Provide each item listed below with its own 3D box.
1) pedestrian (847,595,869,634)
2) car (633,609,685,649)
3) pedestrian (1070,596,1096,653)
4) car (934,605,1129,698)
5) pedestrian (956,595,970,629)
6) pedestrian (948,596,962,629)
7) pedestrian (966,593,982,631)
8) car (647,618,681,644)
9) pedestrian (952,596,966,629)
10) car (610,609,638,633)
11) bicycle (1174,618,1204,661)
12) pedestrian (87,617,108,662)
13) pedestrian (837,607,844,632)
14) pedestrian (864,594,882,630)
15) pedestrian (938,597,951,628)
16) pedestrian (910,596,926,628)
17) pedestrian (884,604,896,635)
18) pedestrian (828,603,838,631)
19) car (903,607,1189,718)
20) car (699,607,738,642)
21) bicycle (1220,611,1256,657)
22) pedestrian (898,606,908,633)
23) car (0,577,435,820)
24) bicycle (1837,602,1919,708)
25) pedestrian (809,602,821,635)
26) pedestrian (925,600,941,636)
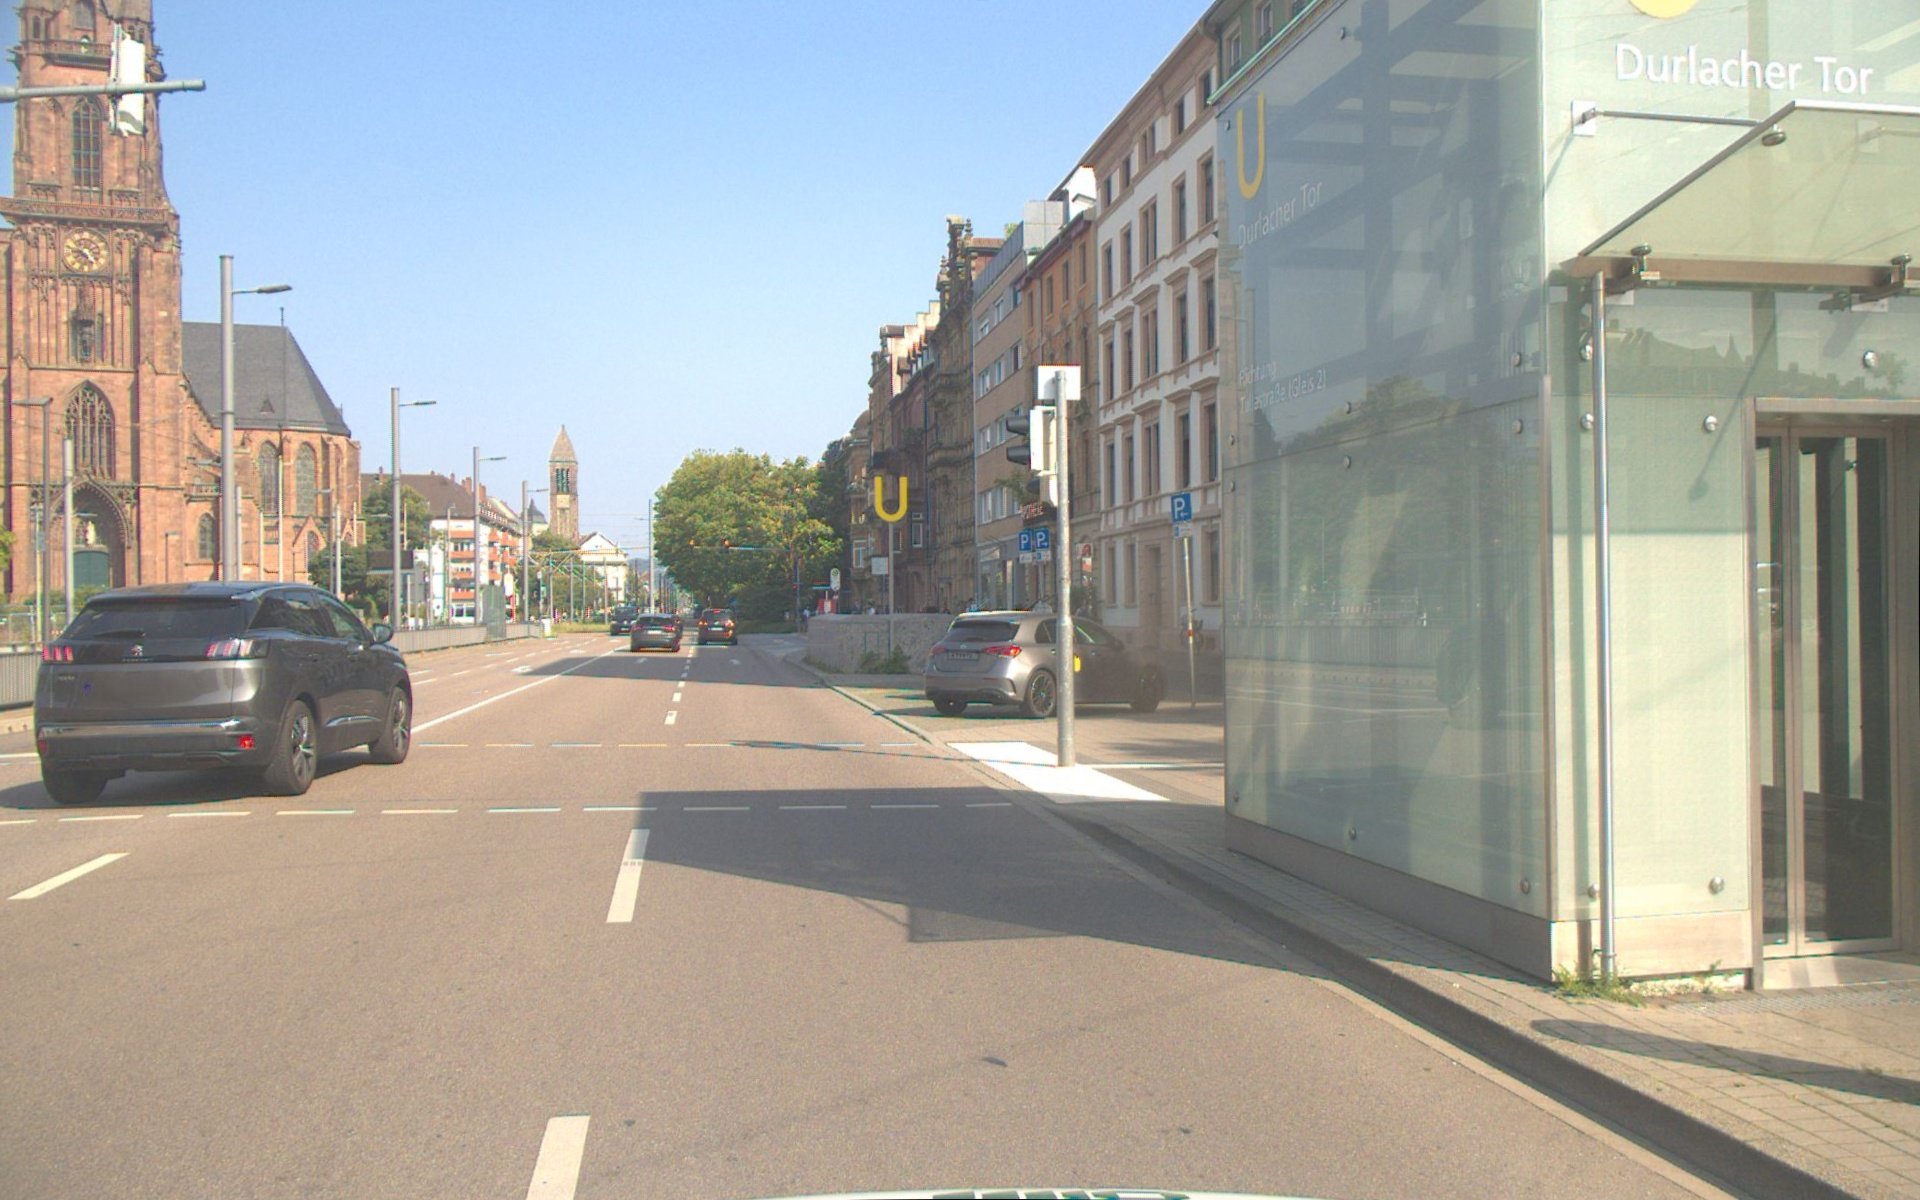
[{"bbox_3d":[-4.874,0.683,79.067,0.909,1.864,0.798,-1,0,-13],"label":"pedestrian"},{"bbox_3d":[-11.523,1.090,63.495,1.829,1.449,4.348,1,0,-9],"label":"car"},{"bbox_3d":[3.666,0.720,49.307,0.597,1.657,0.735,-1,0,-9],"label":"pedestrian"},{"bbox_3d":[1.284,0.851,28.471,1.592,1.489,3.511,-1,-1,39],"label":"car"},{"bbox_3d":[0.170,0.617,86.886,0.593,1.761,0.509,-1,0,-13],"label":"pedestrian"},{"bbox_3d":[-0.261,0.674,88.376,0.593,1.721,0.585,-1,0,-13],"label":"pedestrian"},{"bbox_3d":[0.692,0.594,80.769,0.593,1.864,0.740,-1,0,-12],"label":"pedestrian"},{"bbox_3d":[-17.477,1.825,97.713,1.829,1.449,4.348,1,0,-9],"label":"car"},{"bbox_3d":[-0.069,0.670,87.588,0.593,1.721,0.585,-1,0,-13],"label":"pedestrian"},{"bbox_3d":[-22.892,1.409,112.739,1.709,1.553,3.864,-1,0,-10],"label":"car"},{"bbox_3d":[6.440,1.106,46.581,0.376,1.154,1.716,-1,0,-8],"label":"bicycle"},{"bbox_3d":[-33.220,1.517,63.699,0.508,1.730,0.663,-1,0,-10],"label":"pedestrian"},{"bbox_3d":[-6.183,1.016,85.378,0.270,1.296,0.446,-1,0,-16],"label":"pedestrian"},{"bbox_3d":[-4.340,0.595,82.457,0.736,1.759,0.798,-1,0,-12],"label":"pedestrian"},{"bbox_3d":[-0.856,0.694,90.230,0.593,1.683,0.585,-1,0,-13],"label":"pedestrian"},{"bbox_3d":[-2.143,0.616,84.819,0.706,1.638,0.854,-1,0,-8],"label":"pedestrian"},{"bbox_3d":[-4.251,1.170,100.335,0.605,1.836,1.069,-1,0,-8],"label":"pedestrian"},{"bbox_3d":[-7.852,1.037,102.111,0.473,1.732,0.701,-1,0,-12],"label":"pedestrian"},{"bbox_3d":[1.333,0.836,23.942,1.815,1.448,4.383,-1,-1,42],"label":"car"},{"bbox_3d":[-11.766,1.172,80.611,1.798,1.649,4.348,1,0,-9],"label":"car"},{"bbox_3d":[7.051,0.851,42.049,0.376,1.154,1.716,-1,0,-8],"label":"bicycle"},{"bbox_3d":[-3.458,1.158,100.424,0.477,1.638,0.811,-1,0,-8],"label":"pedestrian"},{"bbox_3d":[-5.897,0.680,13.620,1.954,1.649,4.354,-1,0,-3],"label":"car"},{"bbox_3d":[11.856,0.646,20.229,1.979,1.227,0.669,-1,0,-9],"label":"bicycle"},{"bbox_3d":[-7.753,0.966,88.326,0.555,1.759,0.743,-1,0,-12],"label":"pedestrian"},{"bbox_3d":[-1.366,0.938,84.943,0.706,1.819,0.854,-1,0,-8],"label":"pedestrian"}]
